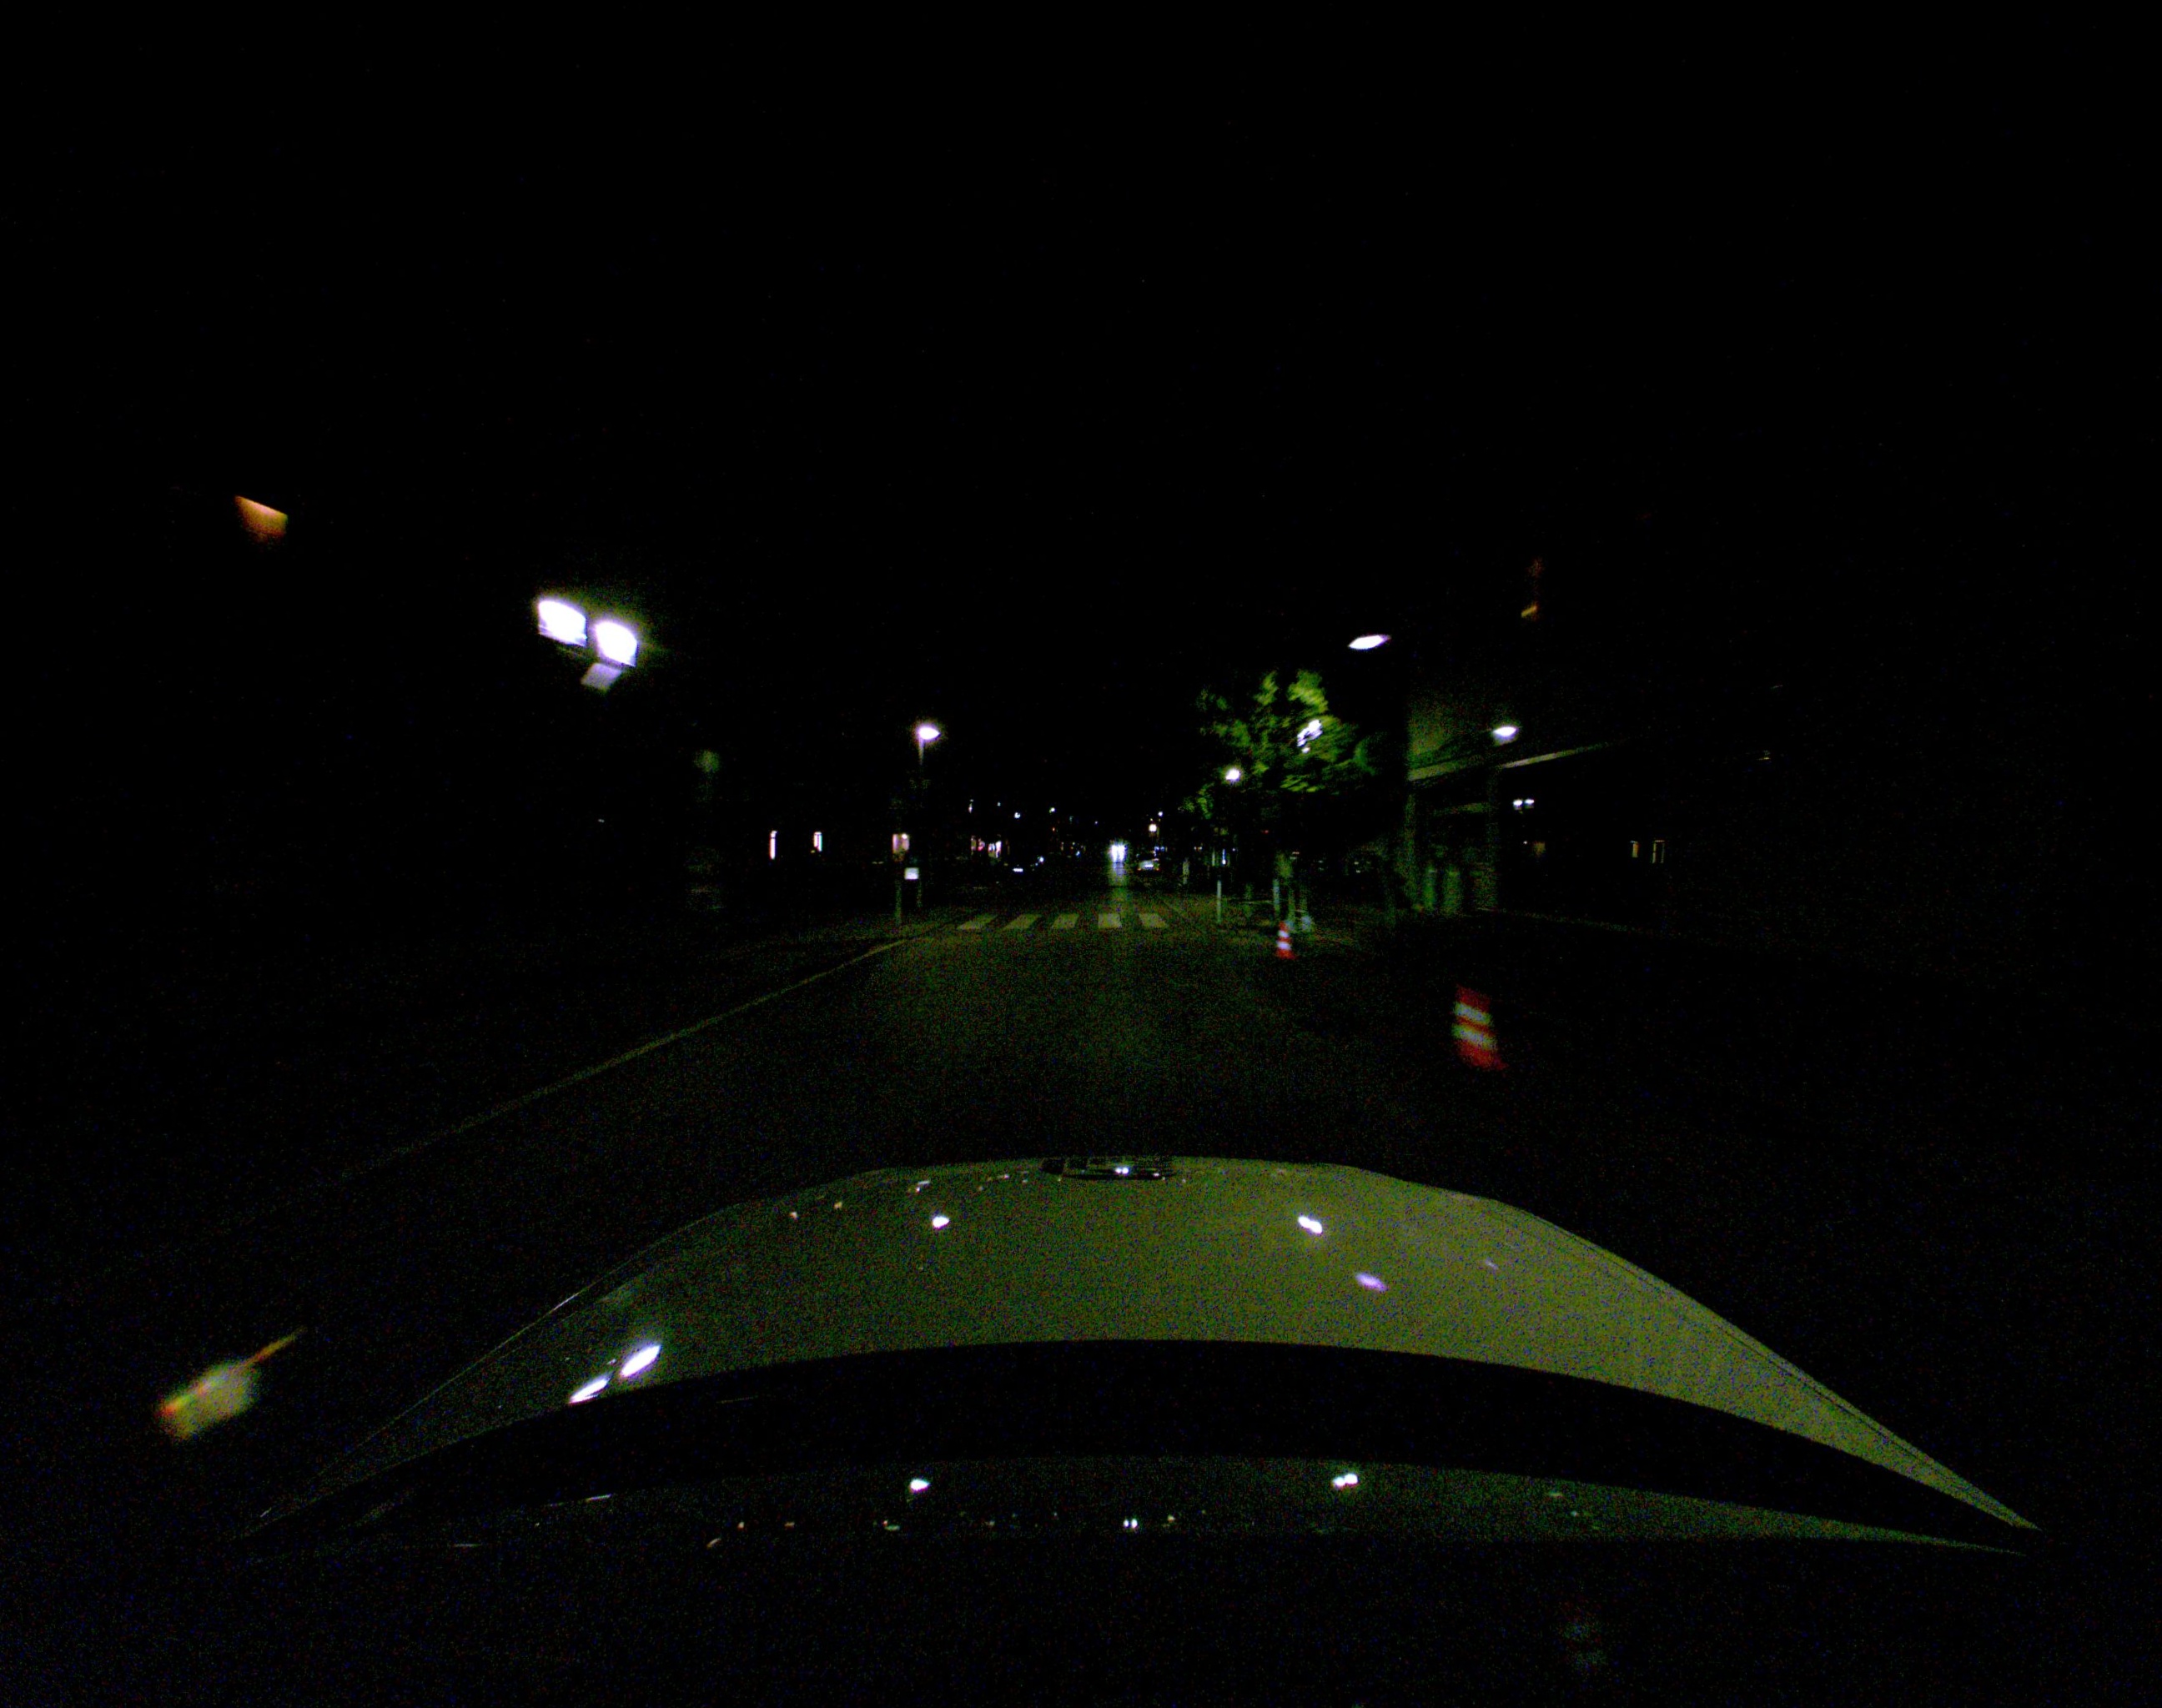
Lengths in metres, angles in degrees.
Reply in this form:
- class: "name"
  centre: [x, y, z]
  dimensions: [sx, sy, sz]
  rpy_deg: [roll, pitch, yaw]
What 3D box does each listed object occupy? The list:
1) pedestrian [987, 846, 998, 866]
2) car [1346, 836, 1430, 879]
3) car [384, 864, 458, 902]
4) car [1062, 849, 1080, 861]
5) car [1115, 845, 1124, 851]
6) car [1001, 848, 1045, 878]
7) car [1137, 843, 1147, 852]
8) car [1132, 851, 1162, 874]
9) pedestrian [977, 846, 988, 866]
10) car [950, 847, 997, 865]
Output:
- class: "pedestrian"
  centre: [-7.634, 0.188, 70.024]
  dimensions: [0.766, 1.656, 0.783]
  rpy_deg: [-1, 2, 3]
- class: "car"
  centre: [12.213, 0.169, 32.682]
  dimensions: [1.798, 1.460, 4.057]
  rpy_deg: [-5, -1, 1]
- class: "car"
  centre: [-27.919, 1.171, 34.430]
  dimensions: [3.950, 1.441, 1.932]
  rpy_deg: [-1, 1, 44]
- class: "car"
  centre: [-1.271, 0.156, 102.403]
  dimensions: [1.906, 1.370, 4.463]
  rpy_deg: [-1, 1, 4]
- class: "car"
  centre: [8.057, -1.253, 170.907]
  dimensions: [1.715, 1.246, 4.241]
  rpy_deg: [-1, 1, 4]
- class: "car"
  centre: [-3.384, 0.486, 48.428]
  dimensions: [2.009, 1.691, 5.007]
  rpy_deg: [1, 0, 3]
- class: "car"
  centre: [11.678, -1.288, 155.599]
  dimensions: [1.767, 1.652, 4.369]
  rpy_deg: [-1, 1, 4]
- class: "car"
  centre: [4.341, 0.511, 53.904]
  dimensions: [1.669, 1.459, 3.676]
  rpy_deg: [-1, 0, 0]
- class: "pedestrian"
  centre: [-8.464, 0.185, 70.170]
  dimensions: [0.766, 1.656, 0.818]
  rpy_deg: [-1, 2, 3]
- class: "car"
  centre: [-10.387, 0.176, 78.845]
  dimensions: [4.147, 1.438, 1.844]
  rpy_deg: [-3, 0, 5]
